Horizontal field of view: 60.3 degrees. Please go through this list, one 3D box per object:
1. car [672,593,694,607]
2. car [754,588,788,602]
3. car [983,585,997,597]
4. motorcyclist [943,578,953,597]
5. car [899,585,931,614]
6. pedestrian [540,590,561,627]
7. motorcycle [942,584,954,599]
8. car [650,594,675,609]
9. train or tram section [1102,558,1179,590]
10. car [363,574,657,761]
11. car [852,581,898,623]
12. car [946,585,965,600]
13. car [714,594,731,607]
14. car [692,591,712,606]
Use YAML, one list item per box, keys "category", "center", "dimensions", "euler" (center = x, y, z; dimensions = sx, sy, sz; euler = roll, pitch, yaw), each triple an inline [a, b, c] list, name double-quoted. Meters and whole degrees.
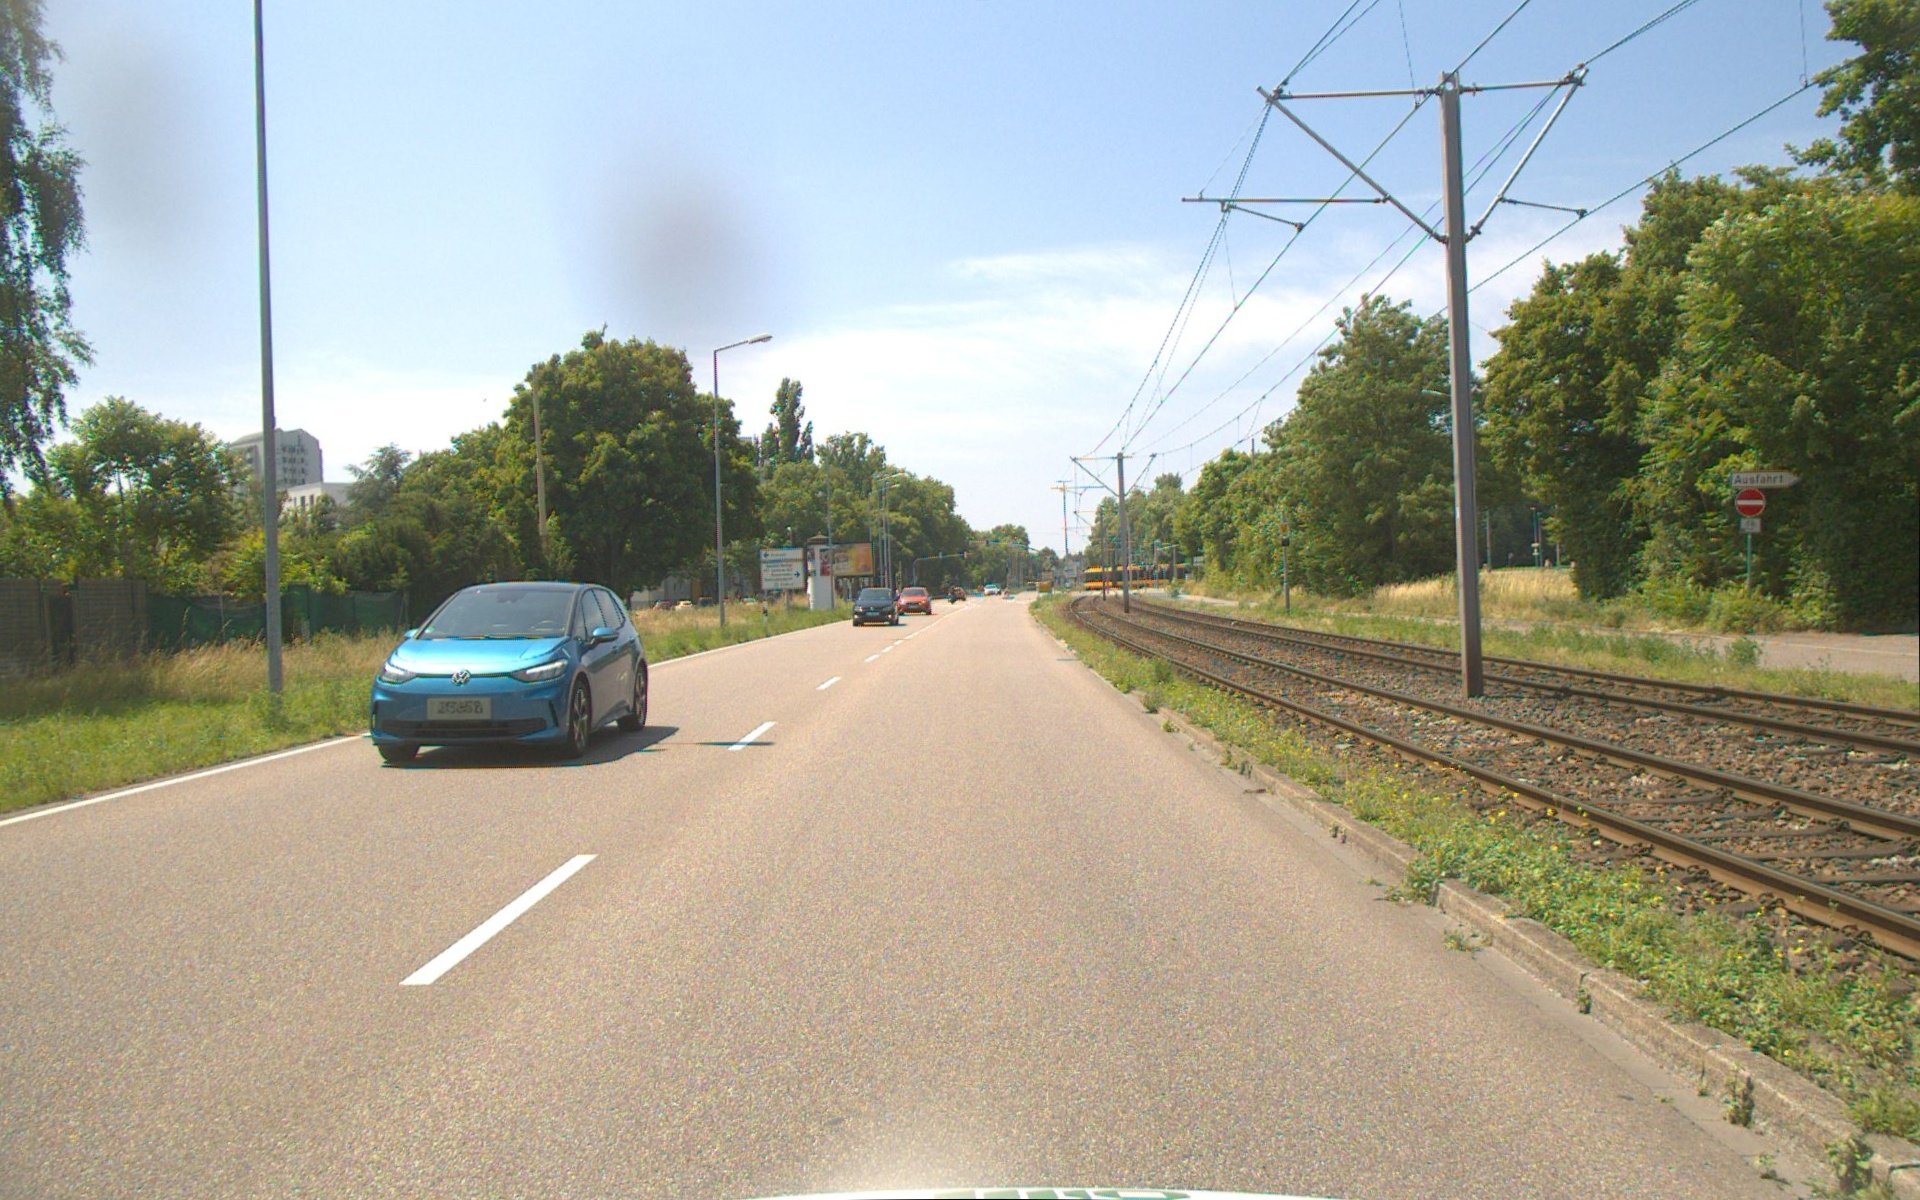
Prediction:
- category: "car"
  center: [-33.048, 0.011, 197.335]
  dimensions: [1.682, 1.620, 3.971]
  euler: [-1, 0, -23]
- category: "car"
  center: [-25.748, -0.692, 225.015]
  dimensions: [1.760, 1.798, 4.521]
  euler: [-2, 1, 43]
- category: "car"
  center: [4.166, -1.247, 231.603]
  dimensions: [1.747, 1.657, 3.867]
  euler: [-2, 1, 3]
- category: "motorcyclist"
  center: [-1.064, -1.100, 148.775]
  dimensions: [0.773, 1.671, 1.212]
  euler: [-1, 0, 5]
- category: "car"
  center: [-2.376, -0.047, 87.745]
  dimensions: [1.645, 1.423, 3.999]
  euler: [-1, 1, -1]
- category: "pedestrian"
  center: [-15.504, 0.324, 62.692]
  dimensions: [0.569, 1.378, 0.798]
  euler: [-1, 0, 0]
- category: "motorcycle"
  center: [-1.056, -0.779, 148.793]
  dimensions: [0.829, 1.277, 2.450]
  euler: [-1, 0, 5]
- category: "car"
  center: [-35.441, 0.135, 196.846]
  dimensions: [1.824, 1.697, 3.965]
  euler: [-1, 1, -27]
- category: "train or tram section"
  center: [26.921, -3.864, 247.924]
  dimensions: [2.892, 3.988, 13.779]
  euler: [1, -3, -37]
- category: "car"
  center: [-4.139, 0.545, 15.878]
  dimensions: [1.778, 1.531, 3.999]
  euler: [-1, 1, -1]
- category: "car"
  center: [-3.327, 0.058, 65.187]
  dimensions: [1.650, 1.597, 3.966]
  euler: [-1, 1, -1]
- category: "car"
  center: [-0.508, -0.791, 173.680]
  dimensions: [1.867, 1.525, 4.631]
  euler: [-1, 1, 1]
- category: "car"
  center: [-28.547, 0.048, 198.827]
  dimensions: [1.590, 1.489, 3.987]
  euler: [-1, 0, -13]
- category: "car"
  center: [-30.894, -0.168, 198.136]
  dimensions: [1.679, 1.832, 3.978]
  euler: [-1, 0, -19]
